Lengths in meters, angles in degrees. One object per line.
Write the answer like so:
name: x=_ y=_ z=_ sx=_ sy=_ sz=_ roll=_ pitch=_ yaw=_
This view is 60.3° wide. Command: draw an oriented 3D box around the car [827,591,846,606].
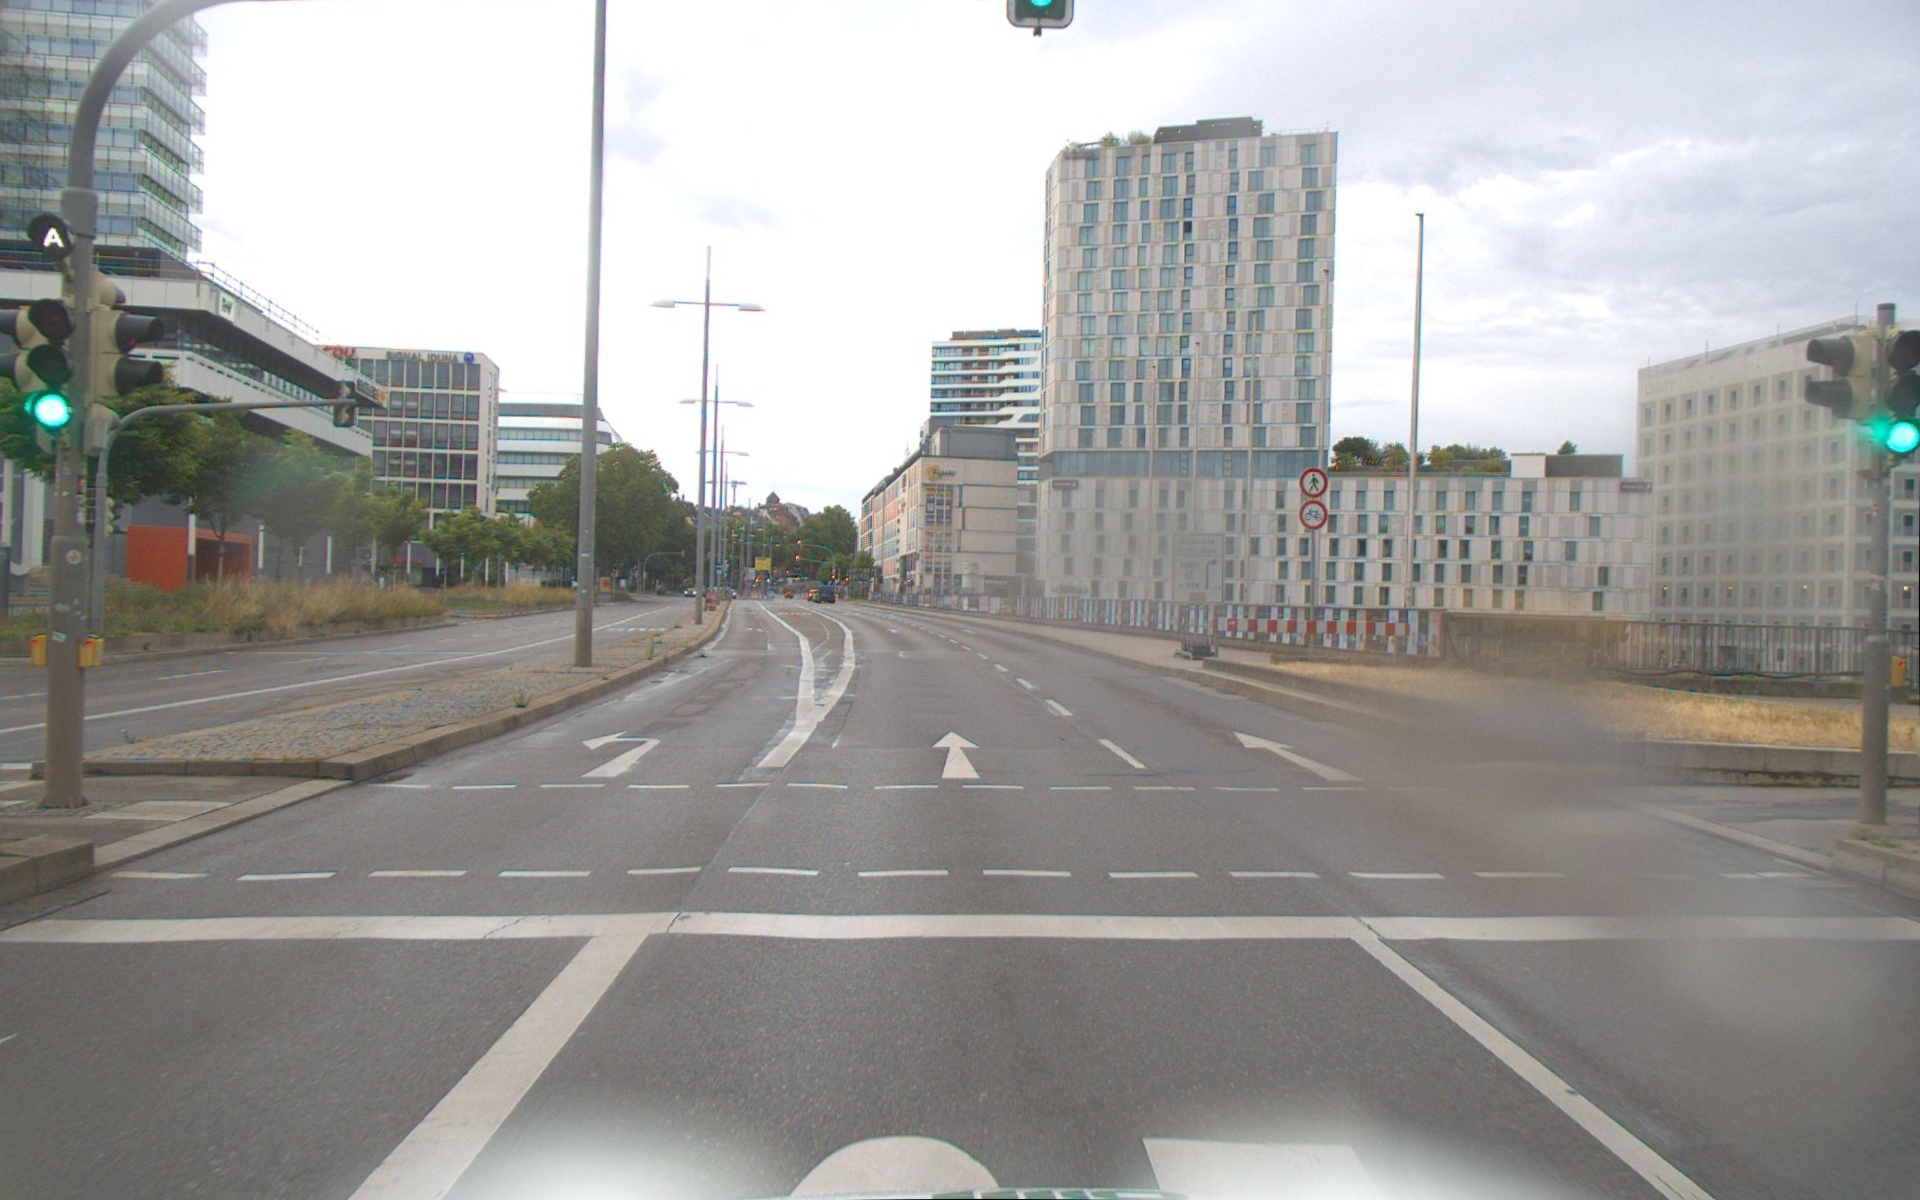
car: x=-16.119 y=-0.187 z=215.788 sx=1.952 sy=1.847 sz=4.002 roll=0 pitch=2 yaw=2

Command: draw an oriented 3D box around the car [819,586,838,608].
car: x=-14.869 y=-0.337 z=187.047 sx=1.953 sy=2.384 sz=3.999 roll=1 pitch=0 yaw=-2

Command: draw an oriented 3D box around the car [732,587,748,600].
car: x=-32.205 y=-0.894 z=242.455 sx=1.953 sy=1.814 sz=3.999 roll=0 pitch=2 yaw=-2

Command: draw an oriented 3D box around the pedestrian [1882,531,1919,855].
pedestrian: x=5.885 y=0.537 z=9.782 sx=0.777 sy=1.873 sz=0.542 roll=-1 pitch=2 yaw=-45
